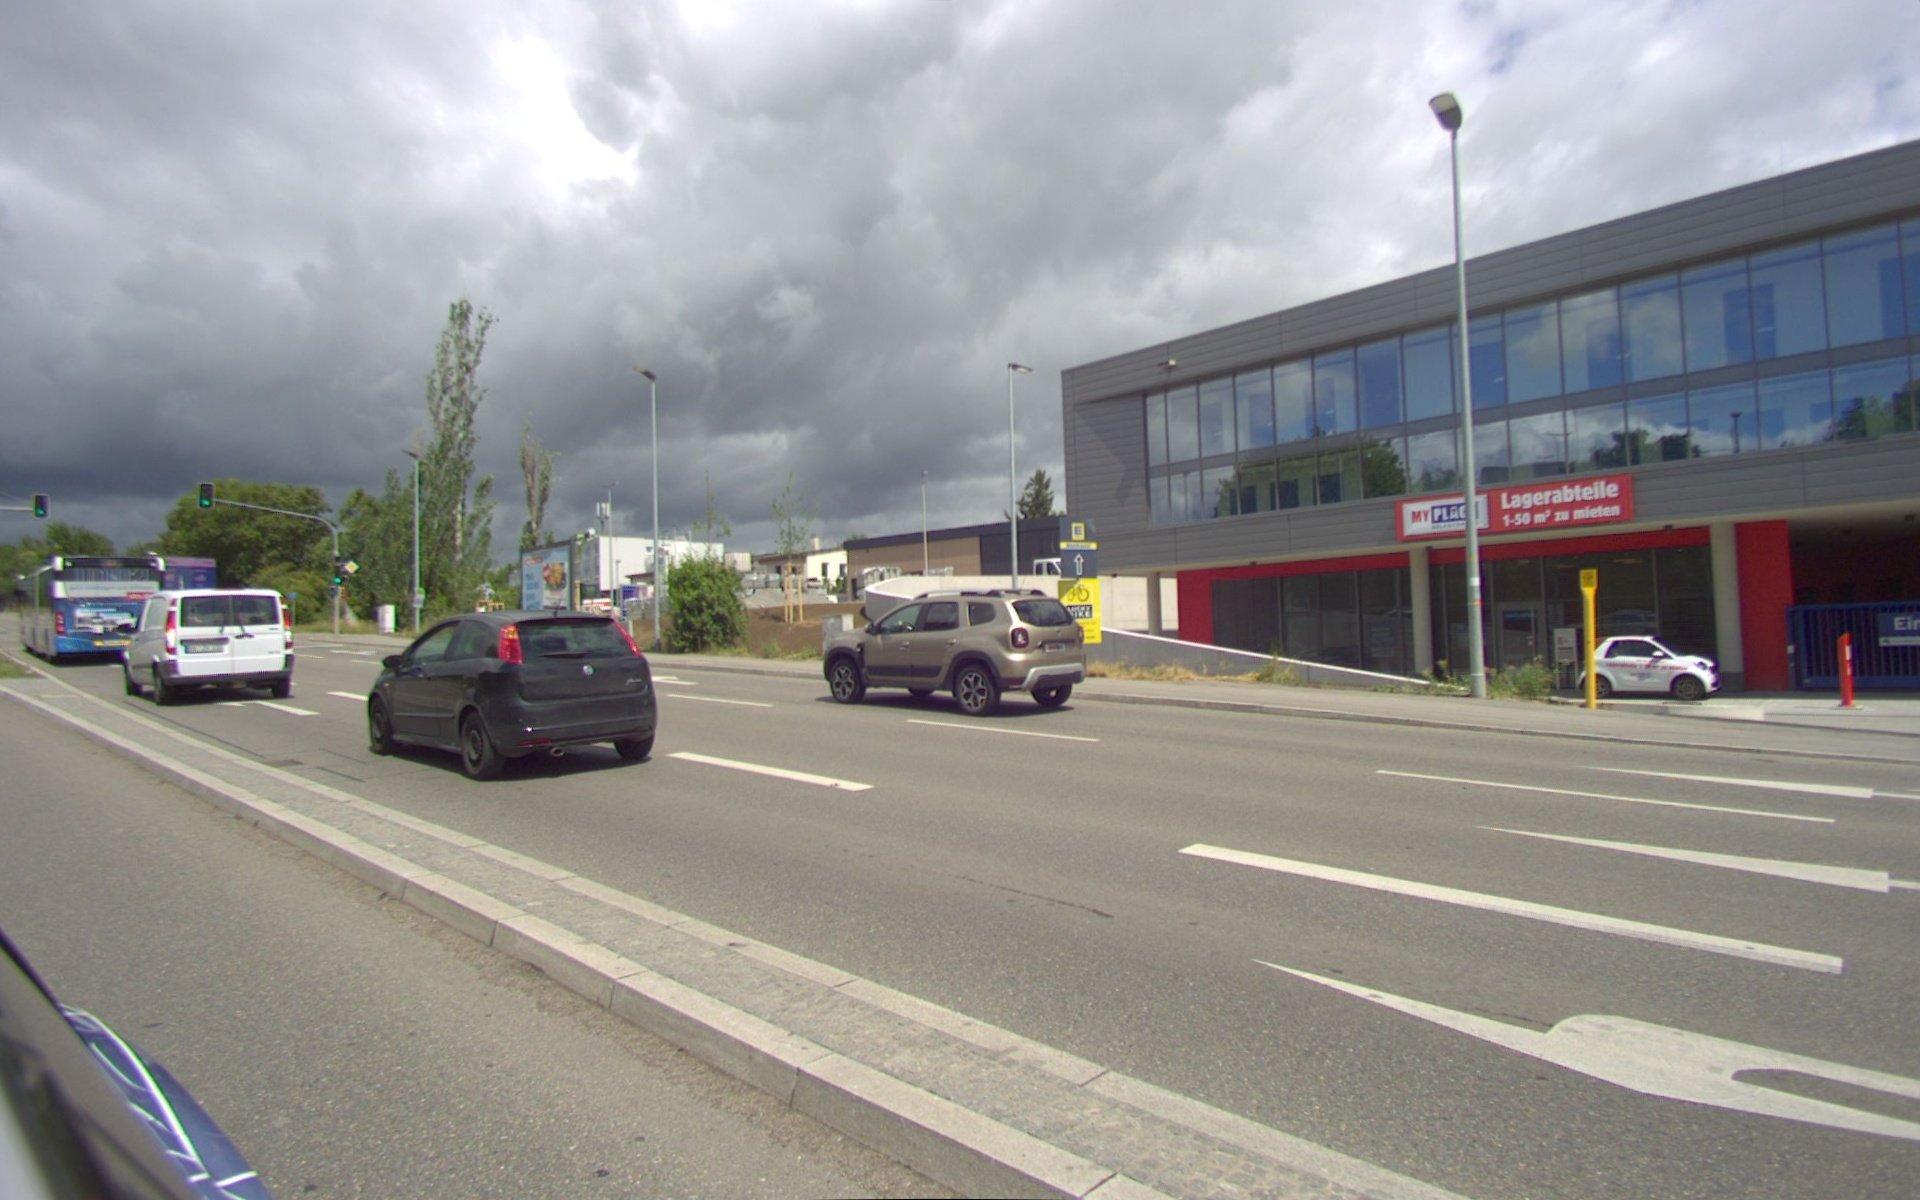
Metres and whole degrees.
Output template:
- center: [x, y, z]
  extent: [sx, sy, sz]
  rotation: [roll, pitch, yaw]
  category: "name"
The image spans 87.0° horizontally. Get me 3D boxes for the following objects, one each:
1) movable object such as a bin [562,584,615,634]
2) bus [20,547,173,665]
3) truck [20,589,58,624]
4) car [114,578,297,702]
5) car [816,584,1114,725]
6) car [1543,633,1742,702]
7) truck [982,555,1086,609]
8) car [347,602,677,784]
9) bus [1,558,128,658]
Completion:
- center: [-20.007, 0.502, 54.435]
  extent: [2.116, 2.557, 3.425]
  rotation: [1, -1, -29]
  category: "movable object such as a bin"
- center: [-27.066, 0.277, 31.541]
  extent: [8.909, 3.188, 2.784]
  rotation: [-2, -1, 44]
  category: "bus"
- center: [-113.810, 0.845, 125.018]
  extent: [6.965, 3.606, 2.807]
  rotation: [-7, -5, 42]
  category: "truck"
- center: [-13.656, 0.683, 18.197]
  extent: [4.751, 1.939, 1.856]
  rotation: [-2, -1, 43]
  category: "car"
- center: [-0.050, 0.679, 14.503]
  extent: [4.272, 1.726, 1.711]
  rotation: [0, 0, 44]
  category: "car"
- center: [16.779, 1.649, 25.007]
  extent: [1.647, 1.520, 3.743]
  rotation: [0, -3, -42]
  category: "car"
- center: [3.861, -0.906, 54.339]
  extent: [1.966, 2.162, 6.598]
  rotation: [-1, -5, -32]
  category: "truck"
- center: [-4.587, 0.801, 10.113]
  extent: [3.775, 1.482, 1.620]
  rotation: [-2, -1, 42]
  category: "car"
- center: [-33.905, 0.312, 38.135]
  extent: [10.122, 3.310, 2.784]
  rotation: [-1, 0, 44]
  category: "bus"
